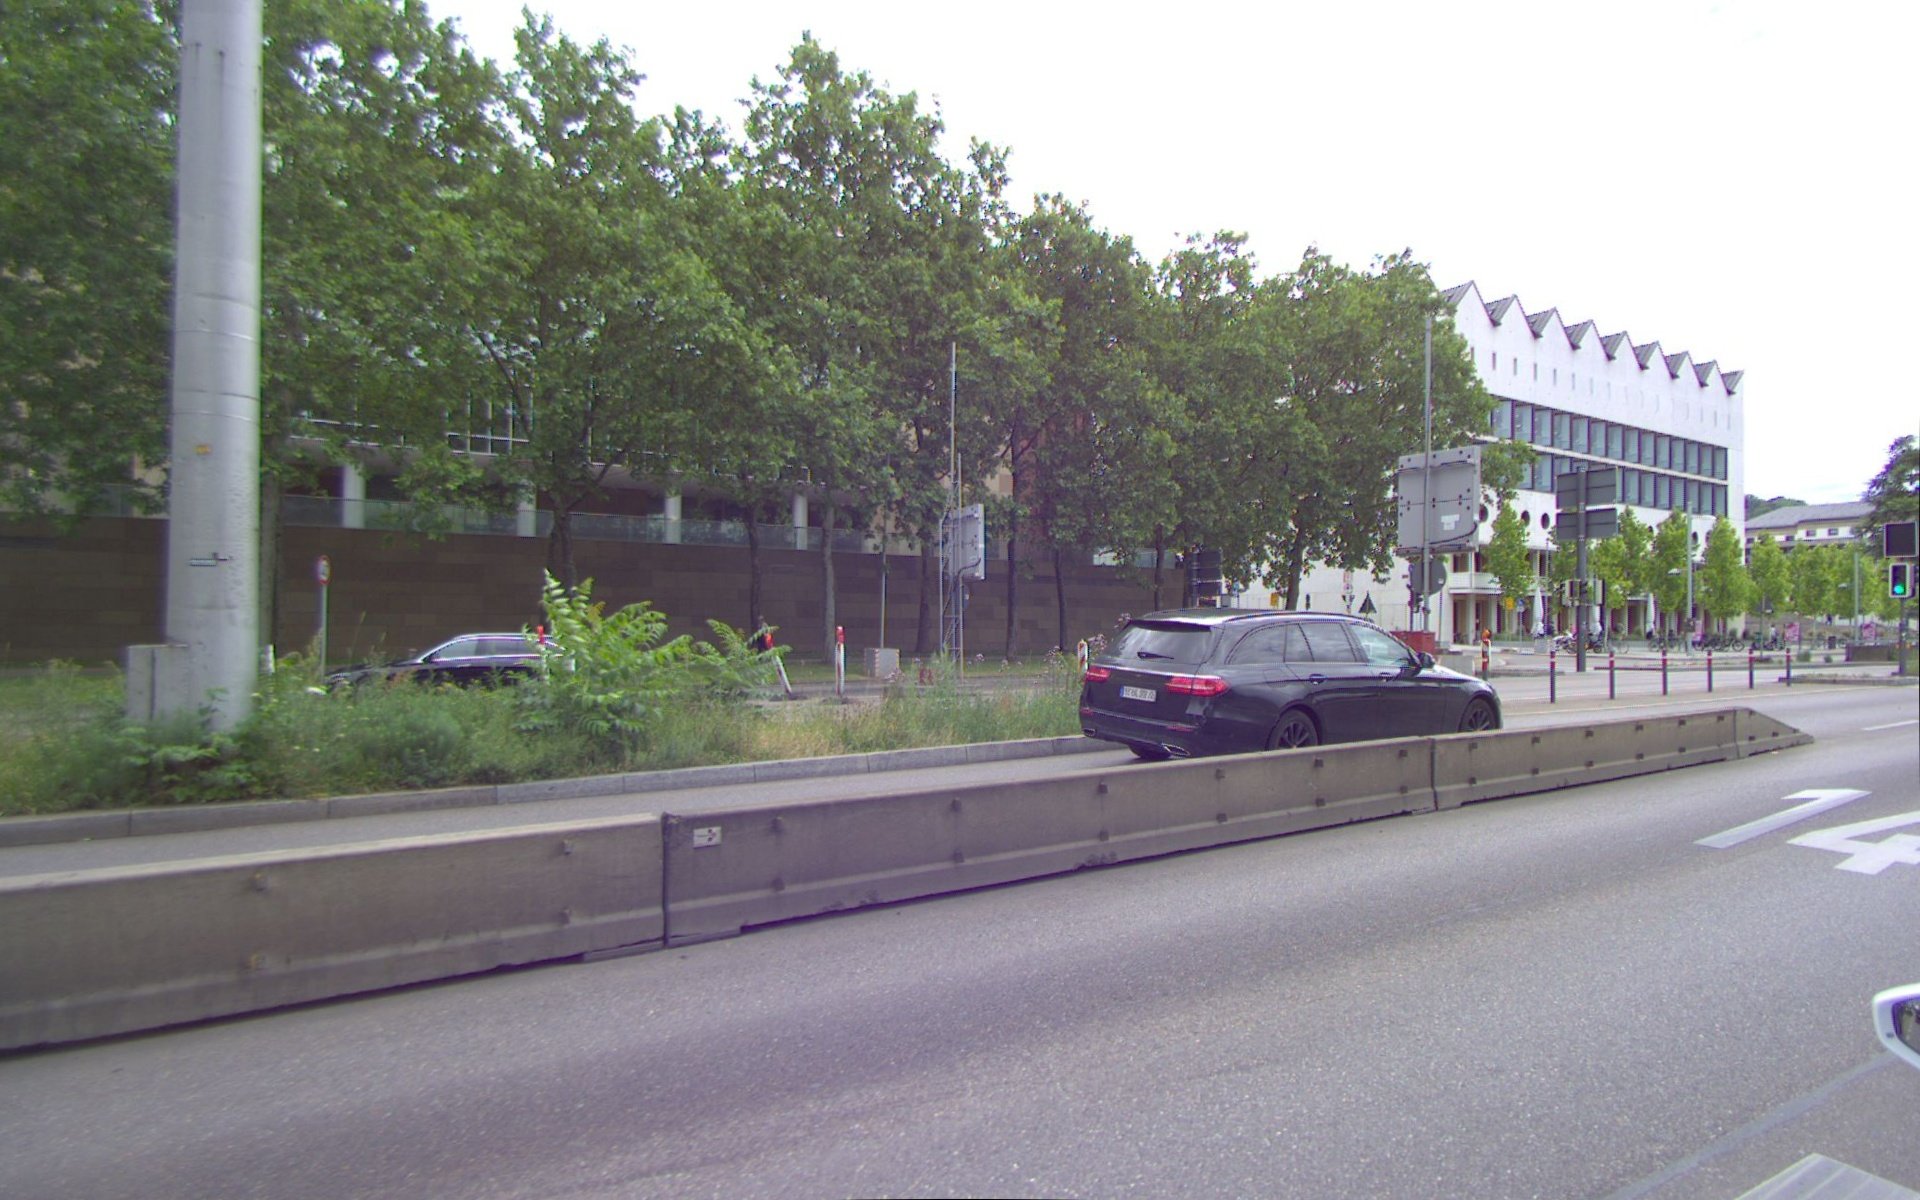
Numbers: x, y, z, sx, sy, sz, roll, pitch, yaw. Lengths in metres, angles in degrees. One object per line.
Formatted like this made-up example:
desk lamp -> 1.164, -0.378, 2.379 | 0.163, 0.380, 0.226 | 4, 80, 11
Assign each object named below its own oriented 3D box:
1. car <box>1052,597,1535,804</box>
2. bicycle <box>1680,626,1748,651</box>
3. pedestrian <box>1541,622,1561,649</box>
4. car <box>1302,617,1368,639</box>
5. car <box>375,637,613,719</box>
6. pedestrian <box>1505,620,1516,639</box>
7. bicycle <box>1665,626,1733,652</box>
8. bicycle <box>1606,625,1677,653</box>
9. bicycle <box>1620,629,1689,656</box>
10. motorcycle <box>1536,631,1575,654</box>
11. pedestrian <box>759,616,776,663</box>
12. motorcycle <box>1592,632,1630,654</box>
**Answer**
car -> 3.394, 0.854, 9.851 | 4.810, 1.480, 1.801 | 2, 3, -33
bicycle -> 52.160, 2.637, 69.545 | 1.173, 1.706, 3.582 | 1, -2, -41
pedestrian -> 34.832, 2.098, 59.224 | 0.865, 1.577, 0.598 | 0, -1, 17
car -> 25.349, 1.894, 68.000 | 1.731, 1.293, 3.967 | 2, 0, -30
car -> -8.827, 1.416, 19.135 | 3.953, 1.390, 1.717 | 1, -2, -30
pedestrian -> 39.471, 2.119, 72.023 | 0.559, 1.344, 0.516 | 3, -3, -30
bicycle -> 50.244, 2.620, 68.324 | 1.173, 1.706, 3.582 | 1, -2, -41
bicycle -> 43.461, 2.470, 64.122 | 1.169, 1.706, 3.594 | 1, -2, -31
bicycle -> 45.346, 2.765, 65.649 | 1.169, 1.706, 3.594 | 1, -2, -31
motorcycle -> 33.580, 2.390, 56.604 | 1.858, 1.249, 0.657 | 0, -4, 35
pedestrian -> -6.877, 1.401, 35.818 | 0.440, 1.629, 0.351 | 2, 1, -37
motorcycle -> 38.006, 2.527, 58.633 | 1.858, 1.249, 0.657 | 0, -4, 35
